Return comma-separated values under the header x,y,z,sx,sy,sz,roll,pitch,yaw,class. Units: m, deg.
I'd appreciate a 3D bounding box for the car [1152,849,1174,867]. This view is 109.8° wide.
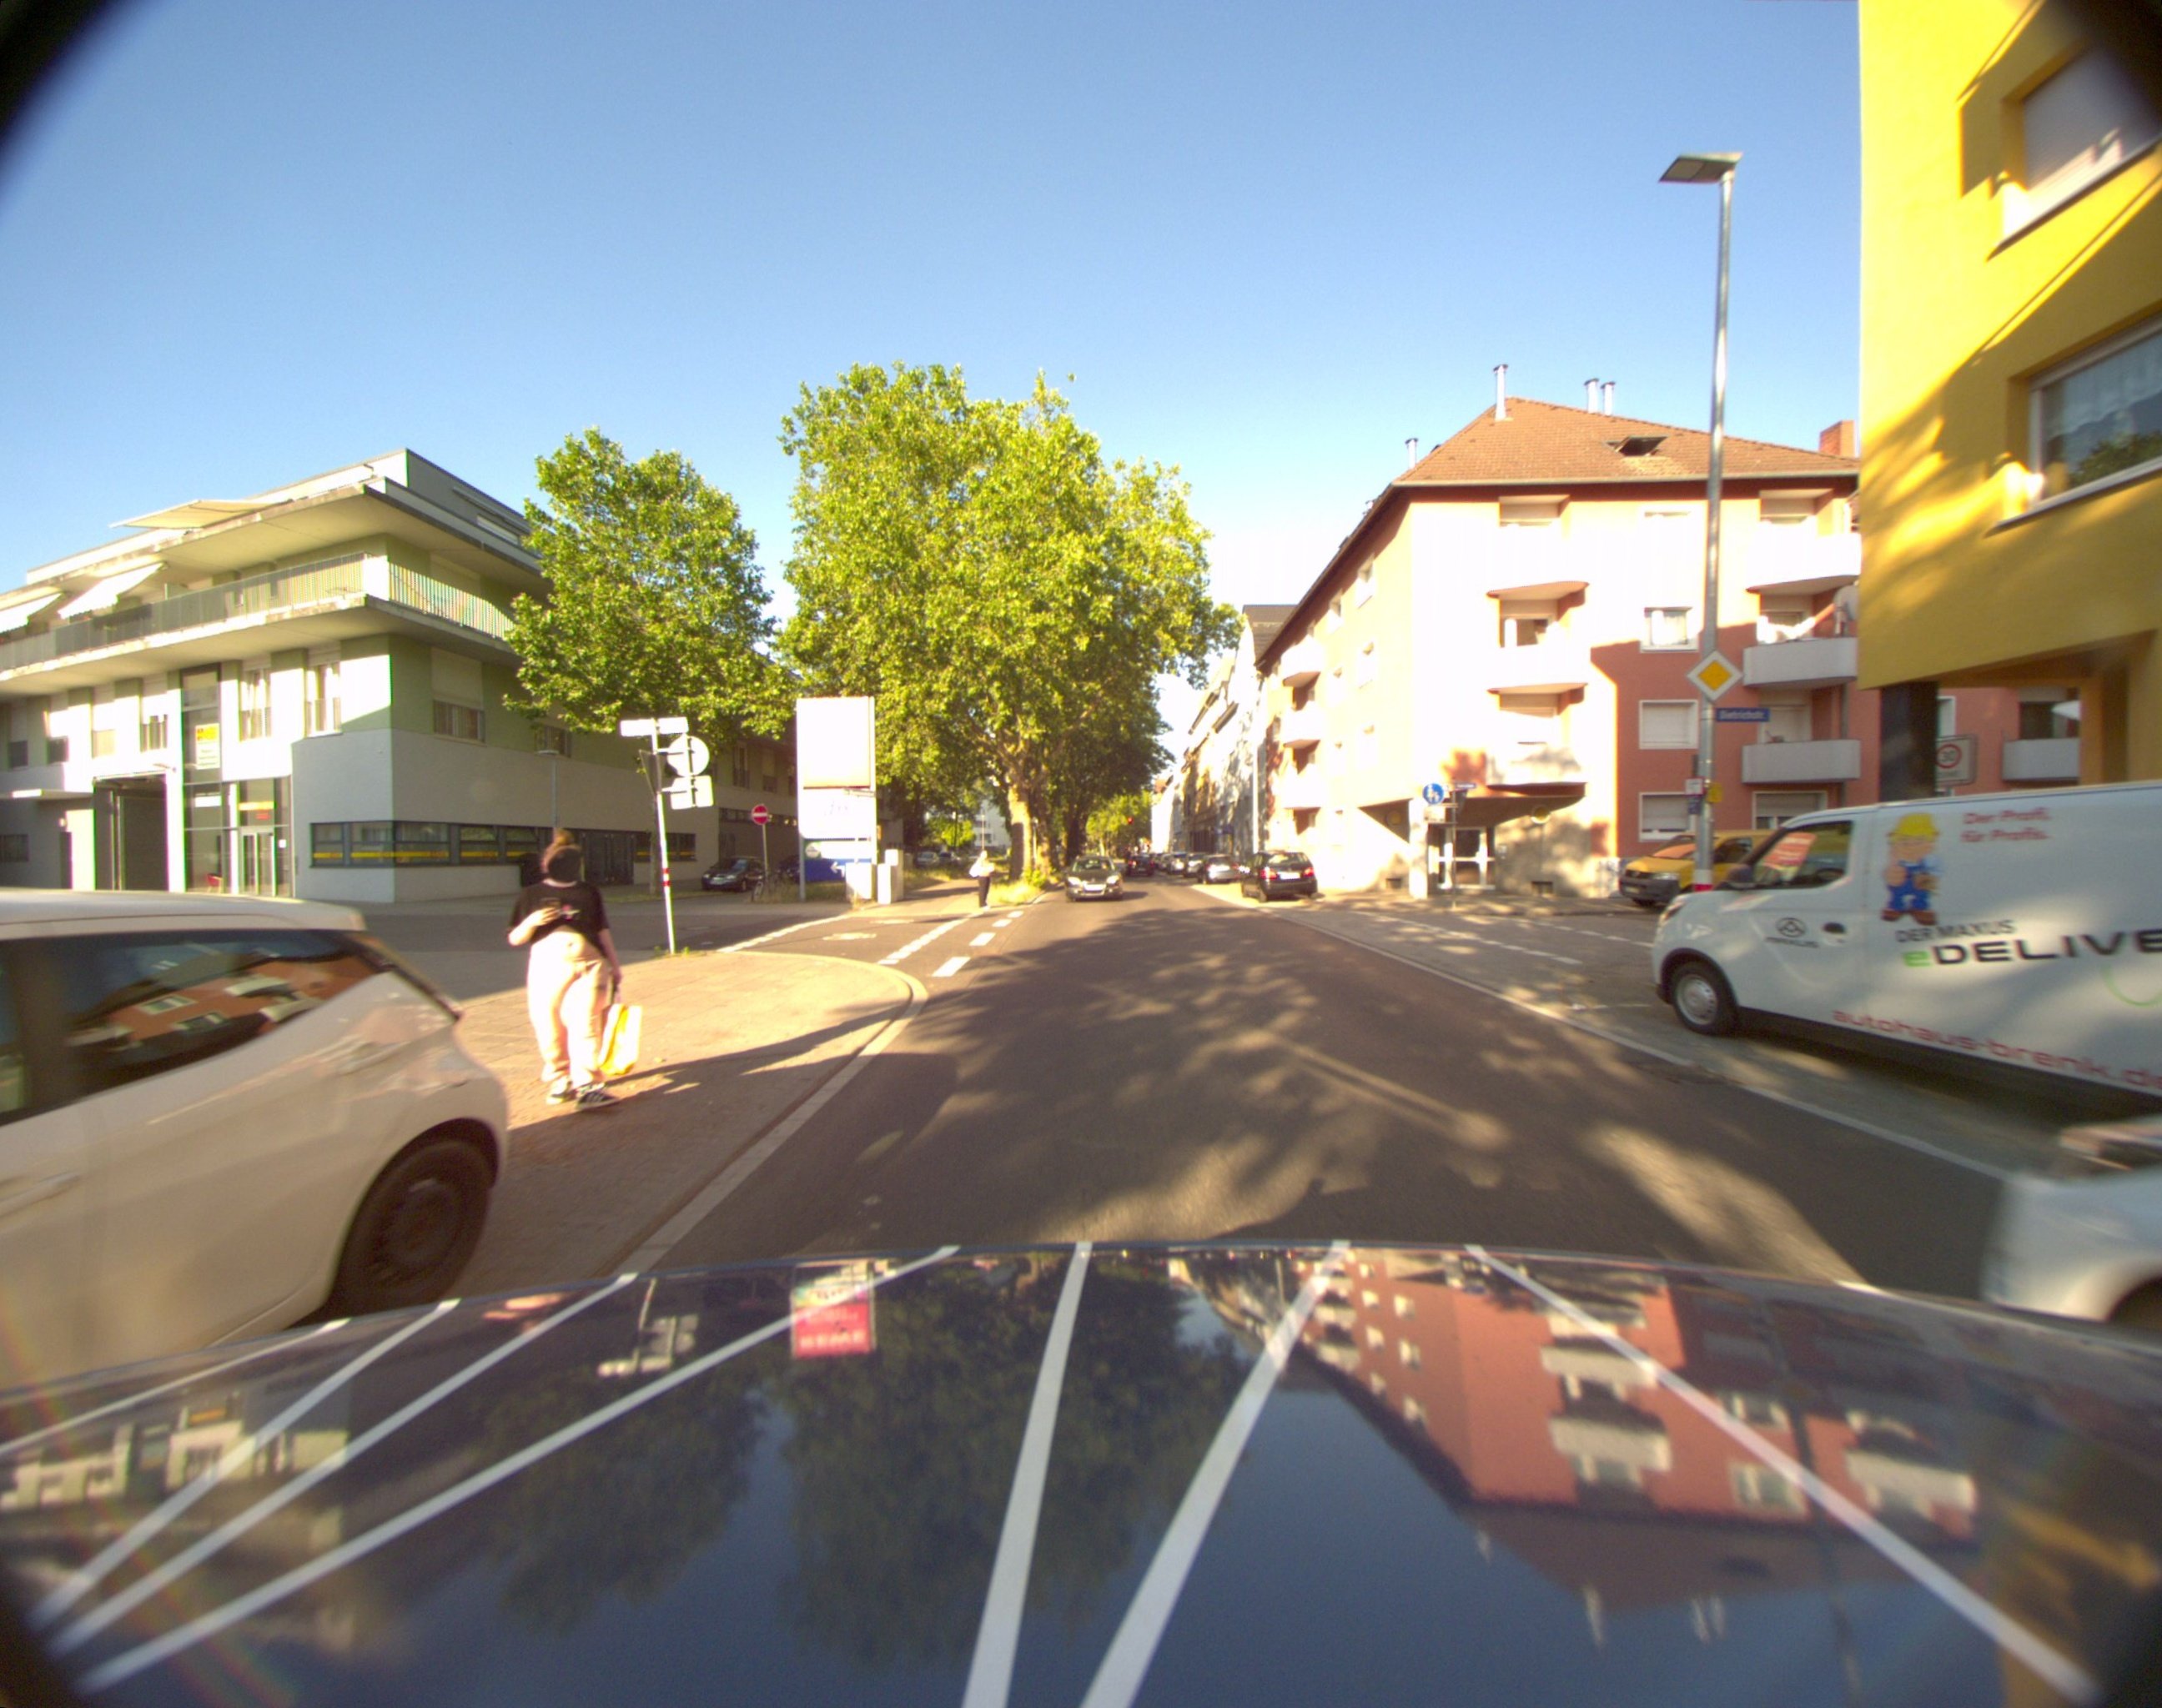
x,y,z,sx,sy,sz,roll,pitch,yaw,class
7.614,0.362,70.753,1.681,1.575,4.200,-2,0,3,car

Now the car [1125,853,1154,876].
x,y,z,sx,sy,sz,roll,pitch,yaw,class
3.932,0.677,51.603,1.775,1.470,4.322,-2,0,2,car

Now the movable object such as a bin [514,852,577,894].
x,y,z,sx,sy,sz,roll,pitch,yaw,class
-19.328,0.659,27.449,1.195,1.454,1.408,0,1,13,movable object such as a bin

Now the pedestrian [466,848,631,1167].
x,y,z,sx,sy,sz,roll,pitch,yaw,class
-3.139,0.824,4.556,0.722,1.713,0.692,-1,1,-29,pedestrian

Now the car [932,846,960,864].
x,y,z,sx,sy,sz,roll,pitch,yaw,class
-13.360,0.112,75.354,1.909,1.760,4.320,0,0,2,car

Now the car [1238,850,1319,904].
x,y,z,sx,sy,sz,roll,pitch,yaw,class
6.222,0.674,24.358,1.681,1.515,4.021,-2,0,3,car

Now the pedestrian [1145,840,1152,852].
x,y,z,sx,sy,sz,roll,pitch,yaw,class
8.524,-1.025,96.301,0.865,1.561,0.706,0,1,6,pedestrian

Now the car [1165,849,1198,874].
x,y,z,sx,sy,sz,roll,pitch,yaw,class
7.051,0.486,53.787,1.912,1.632,4.578,-2,0,3,car

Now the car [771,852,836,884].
x,y,z,sx,sy,sz,roll,pitch,yaw,class
-14.373,0.676,39.527,1.863,1.544,3.759,0,0,2,car

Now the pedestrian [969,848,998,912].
x,y,z,sx,sy,sz,roll,pitch,yaw,class
-2.741,0.708,21.286,0.664,1.751,0.769,1,1,-17,pedestrian

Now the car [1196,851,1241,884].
x,y,z,sx,sy,sz,roll,pitch,yaw,class
6.738,0.631,37.429,1.681,1.478,3.601,-2,0,3,car

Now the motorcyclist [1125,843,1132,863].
x,y,z,sx,sy,sz,roll,pitch,yaw,class
3.851,-0.067,61.675,0.587,1.596,0.831,0,1,1,motorcyclist

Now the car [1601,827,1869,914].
x,y,z,sx,sy,sz,roll,pitch,yaw,class
15.744,0.373,18.510,4.757,2.002,1.920,0,1,3,car

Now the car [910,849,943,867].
x,y,z,sx,sy,sz,roll,pitch,yaw,class
-13.596,0.306,67.050,1.863,1.534,4.320,0,0,2,car

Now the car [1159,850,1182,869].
x,y,z,sx,sy,sz,roll,pitch,yaw,class
7.557,0.473,64.595,1.681,1.488,3.872,-2,1,3,car

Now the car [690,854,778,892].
x,y,z,sx,sy,sz,roll,pitch,yaw,class
-14.695,0.768,32.451,1.864,1.460,4.123,0,0,0,car

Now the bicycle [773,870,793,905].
x,y,z,sx,sy,sz,roll,pitch,yaw,class
-8.959,0.990,22.862,0.384,0.998,1.484,0,1,-15,bicycle

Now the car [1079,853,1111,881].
x,y,z,sx,sy,sz,roll,pitch,yaw,class
0.797,0.685,41.661,1.654,1.445,3.535,0,0,2,car

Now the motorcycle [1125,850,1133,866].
x,y,z,sx,sy,sz,roll,pitch,yaw,class
3.883,0.318,61.721,0.548,1.234,2.264,2,1,1,motorcycle

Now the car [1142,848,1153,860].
x,y,z,sx,sy,sz,roll,pitch,yaw,class
10.081,-0.044,115.359,1.668,1.808,4.006,-2,0,4,car

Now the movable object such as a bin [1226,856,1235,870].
x,y,z,sx,sy,sz,roll,pitch,yaw,class
10.389,0.609,52.796,0.558,0.941,0.669,0,1,2,movable object such as a bin

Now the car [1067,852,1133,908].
x,y,z,sx,sy,sz,roll,pitch,yaw,class
0.650,0.762,24.242,1.844,1.536,4.524,-2,0,3,car

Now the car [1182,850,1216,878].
x,y,z,sx,sy,sz,roll,pitch,yaw,class
7.401,0.604,48.004,1.682,1.632,3.985,-2,0,3,car

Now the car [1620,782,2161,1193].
x,y,z,sx,sy,sz,roll,pitch,yaw,class
5.871,0.590,4.526,1.738,1.896,5.209,-1,0,2,car

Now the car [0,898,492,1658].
x,y,z,sx,sy,sz,roll,pitch,yaw,class
-3.063,0.948,0.879,1.639,1.459,4.020,1,1,0,car

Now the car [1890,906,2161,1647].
x,y,z,sx,sy,sz,roll,pitch,yaw,class
3.065,0.911,0.160,1.643,1.515,3.934,-1,0,1,car
